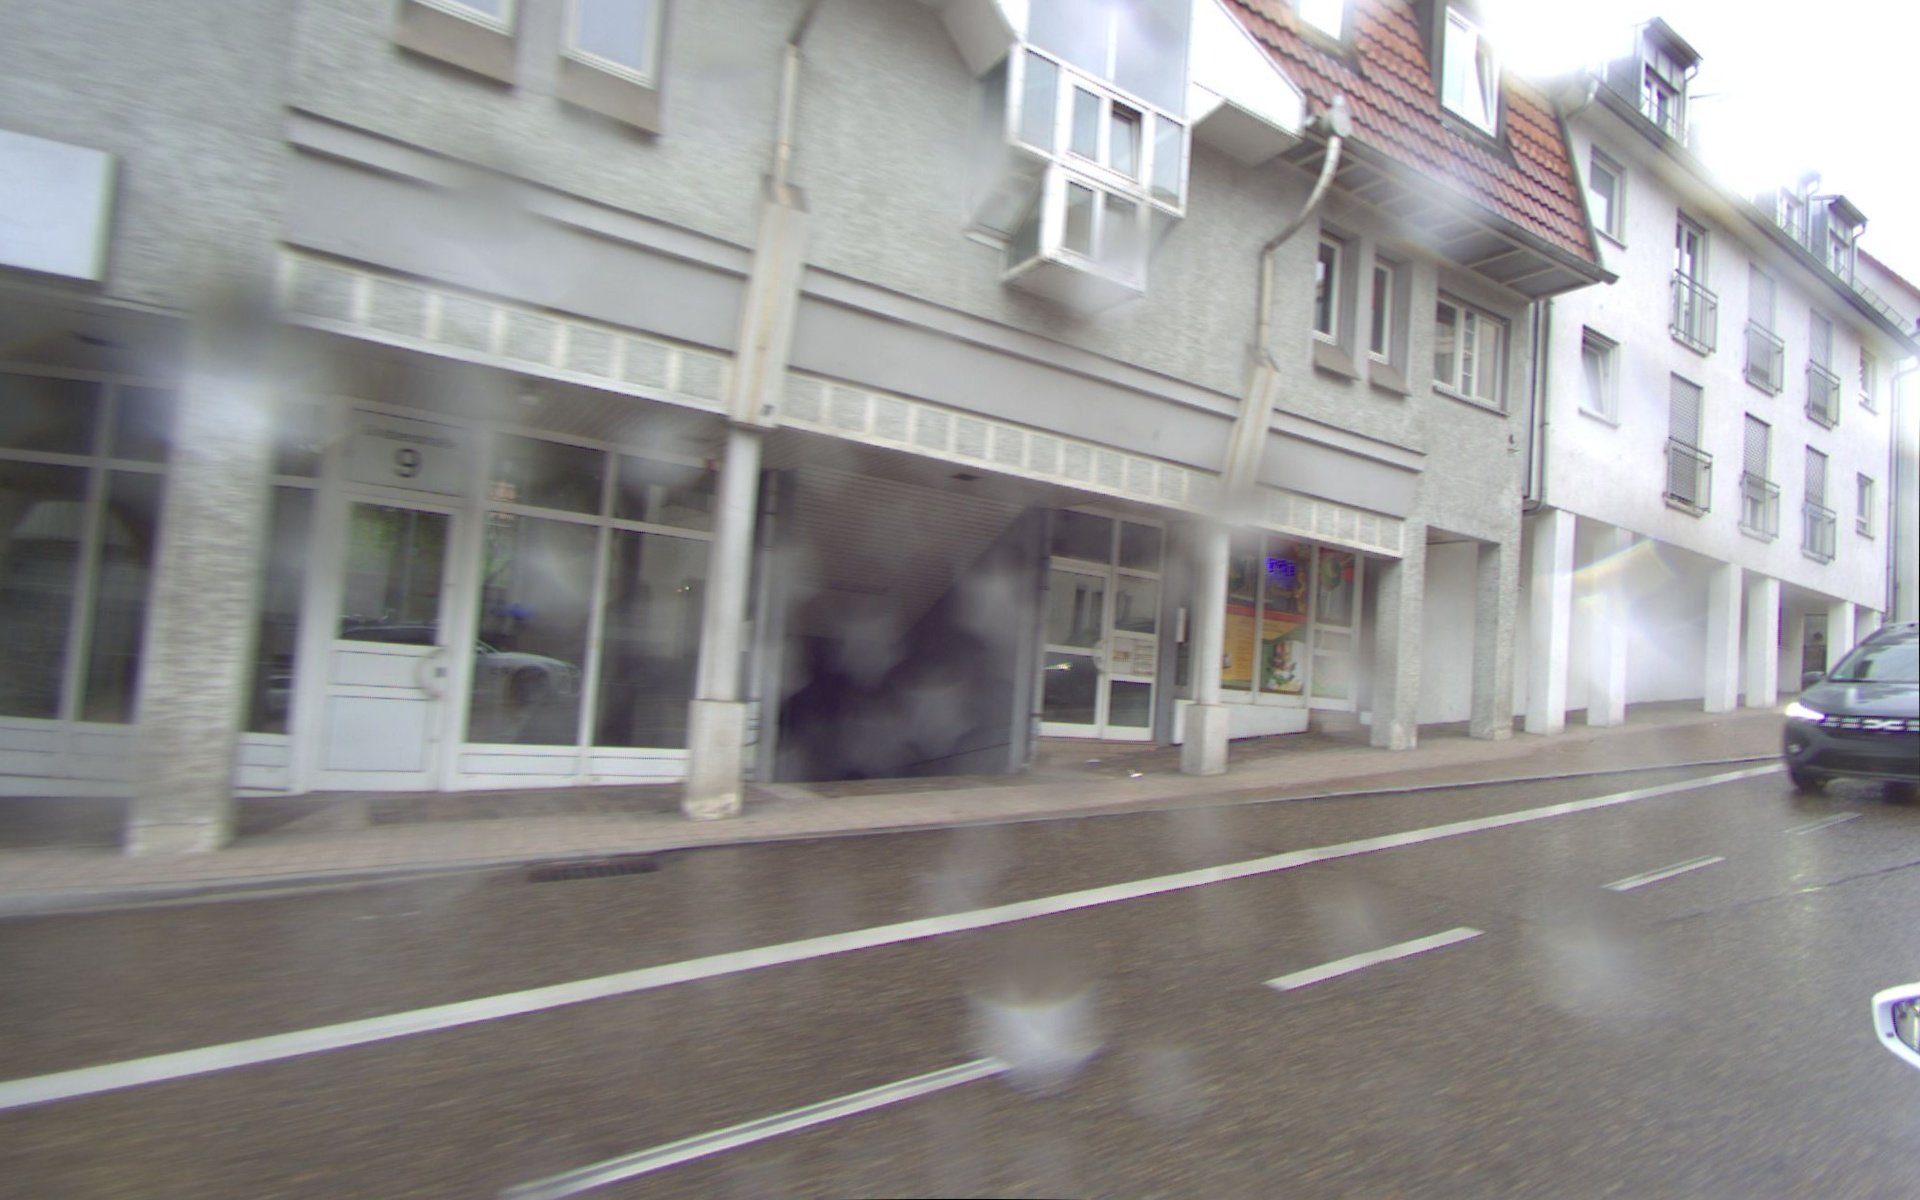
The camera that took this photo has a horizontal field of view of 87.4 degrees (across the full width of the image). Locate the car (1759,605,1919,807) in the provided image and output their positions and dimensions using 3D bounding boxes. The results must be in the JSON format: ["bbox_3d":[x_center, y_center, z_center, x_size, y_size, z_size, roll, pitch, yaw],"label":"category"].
[{"bbox_3d":[9.875,0.965,9.985,4.413,1.716,1.771,2,-2,-34],"label":"car"}]
